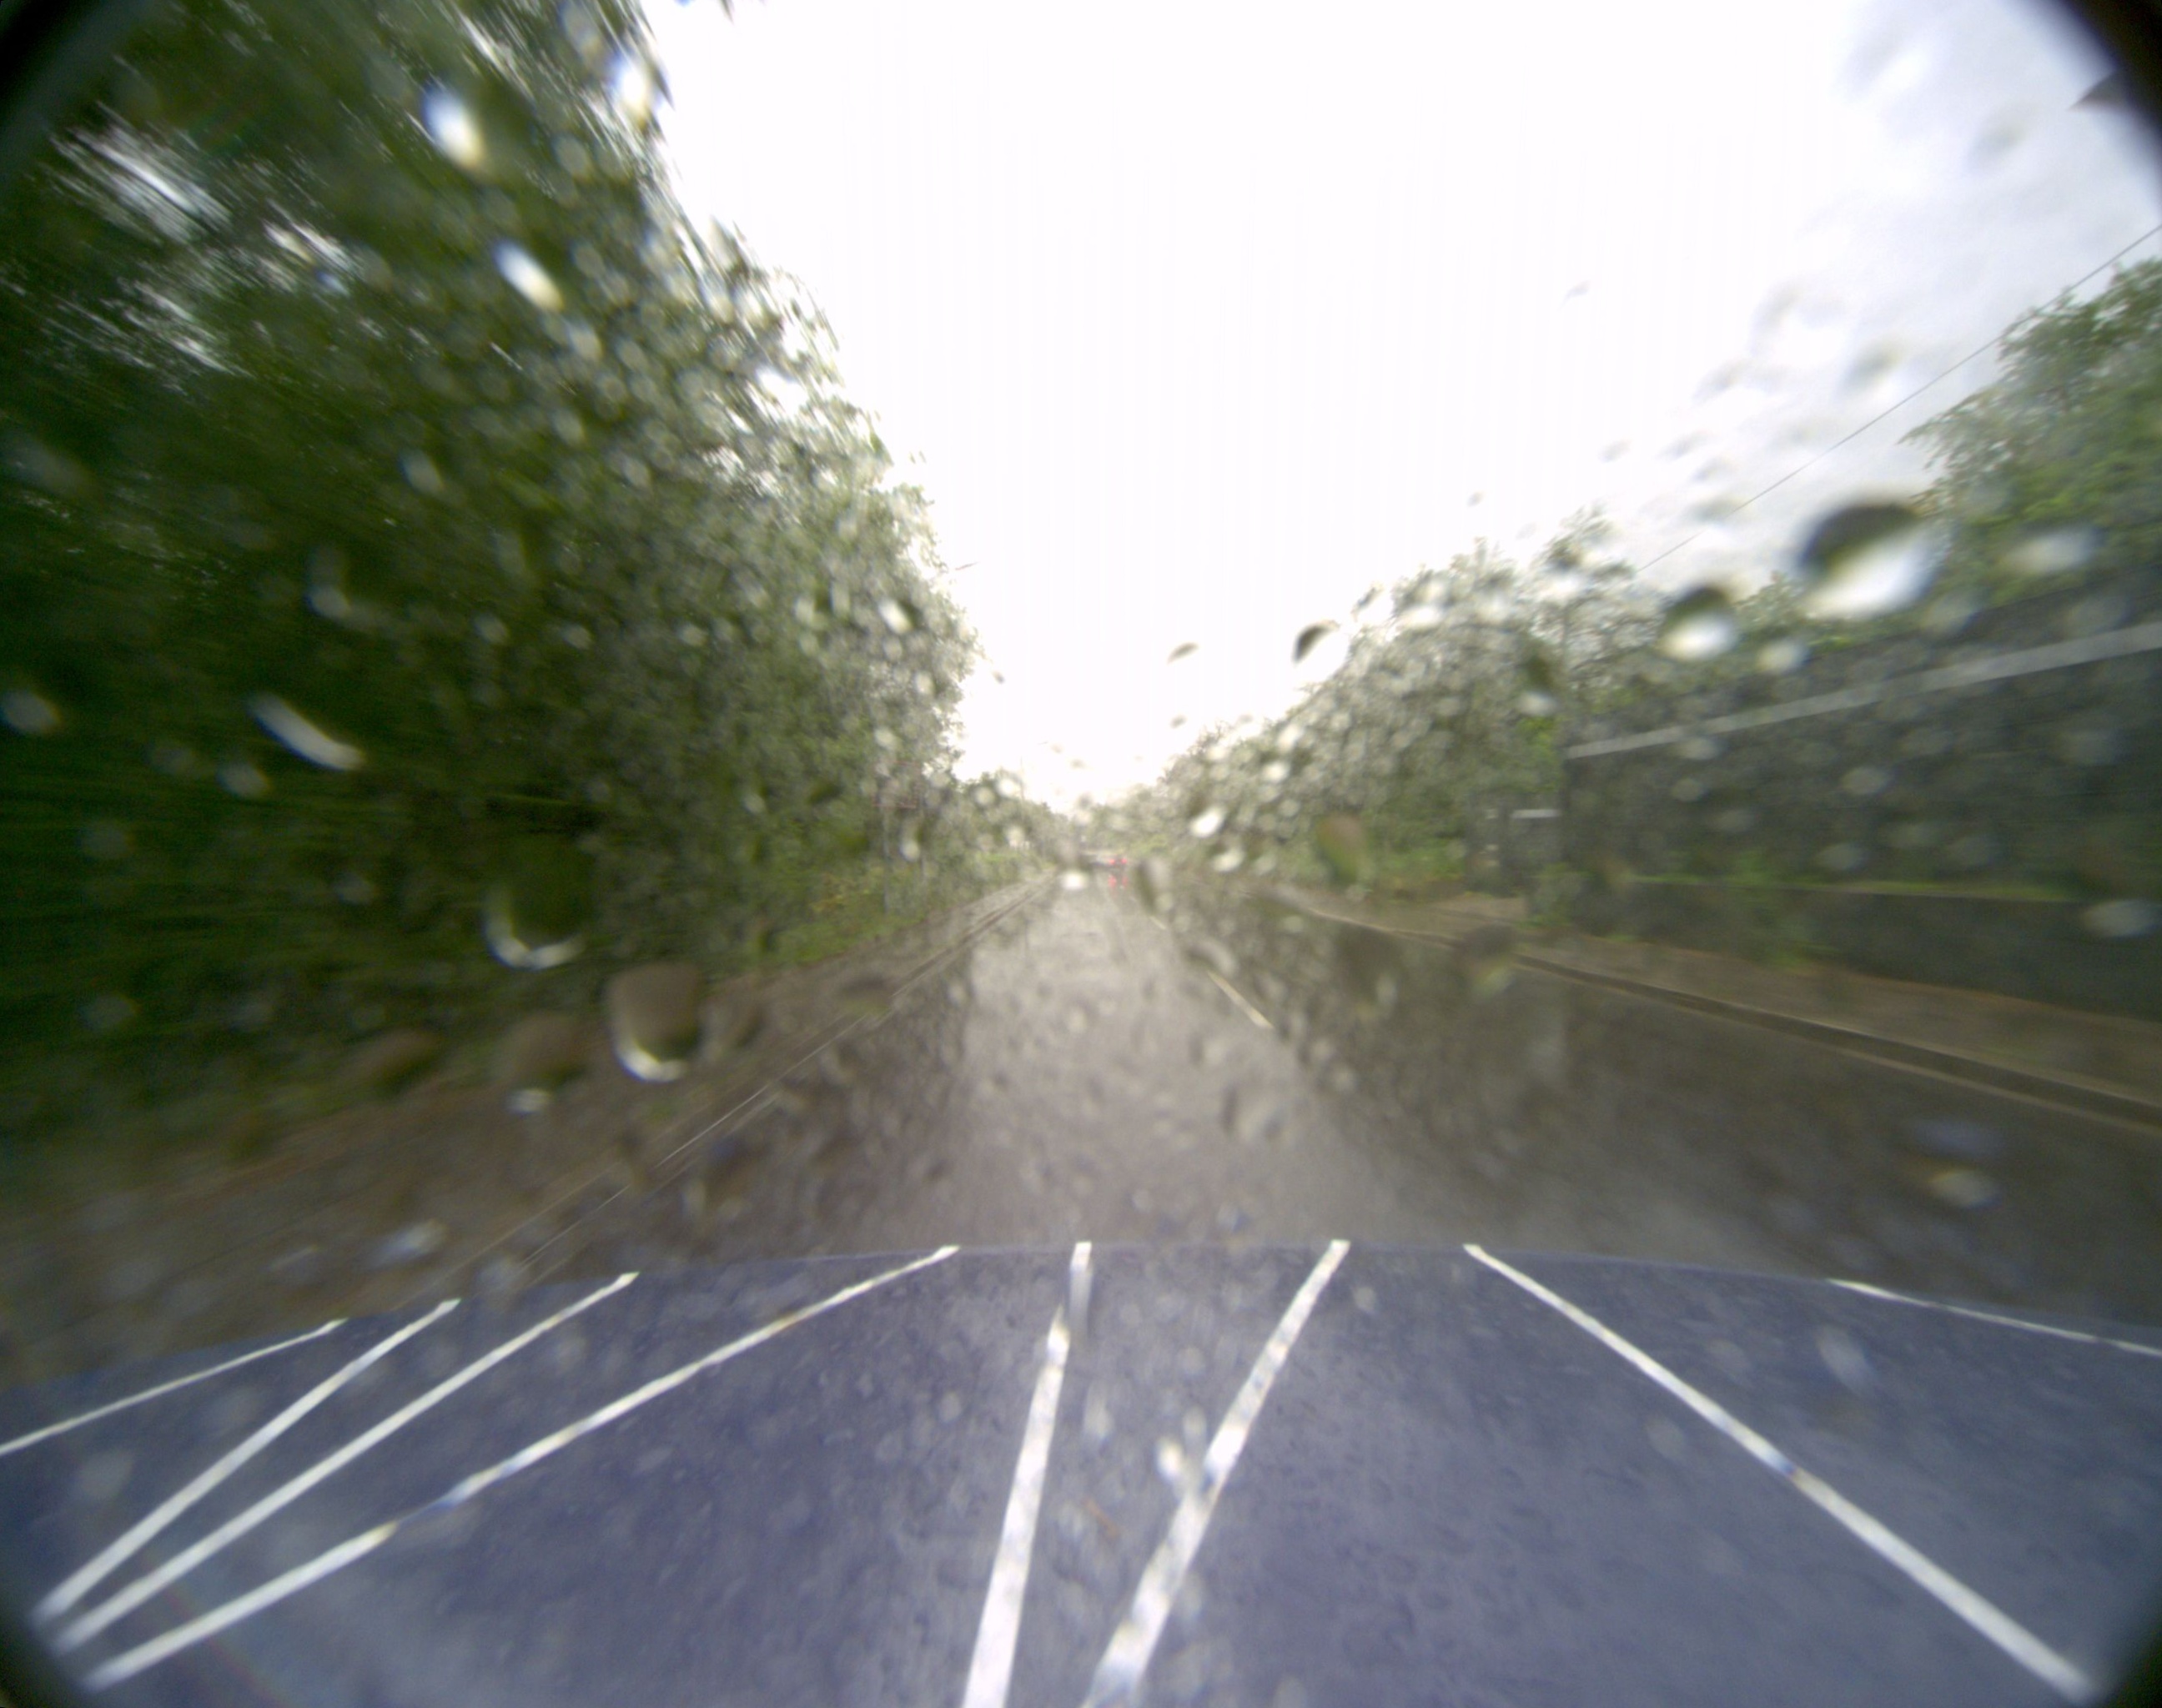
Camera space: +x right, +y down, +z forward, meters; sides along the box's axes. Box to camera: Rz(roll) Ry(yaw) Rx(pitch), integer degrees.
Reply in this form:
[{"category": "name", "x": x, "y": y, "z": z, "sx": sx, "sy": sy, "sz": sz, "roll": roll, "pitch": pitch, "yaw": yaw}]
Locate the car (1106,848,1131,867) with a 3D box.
[{"category": "car", "x": 3.265, "y": 0.300, "z": 66.589, "sx": 1.998, "sy": 1.445, "sz": 4.427, "roll": -2, "pitch": 1, "yaw": 1}]
